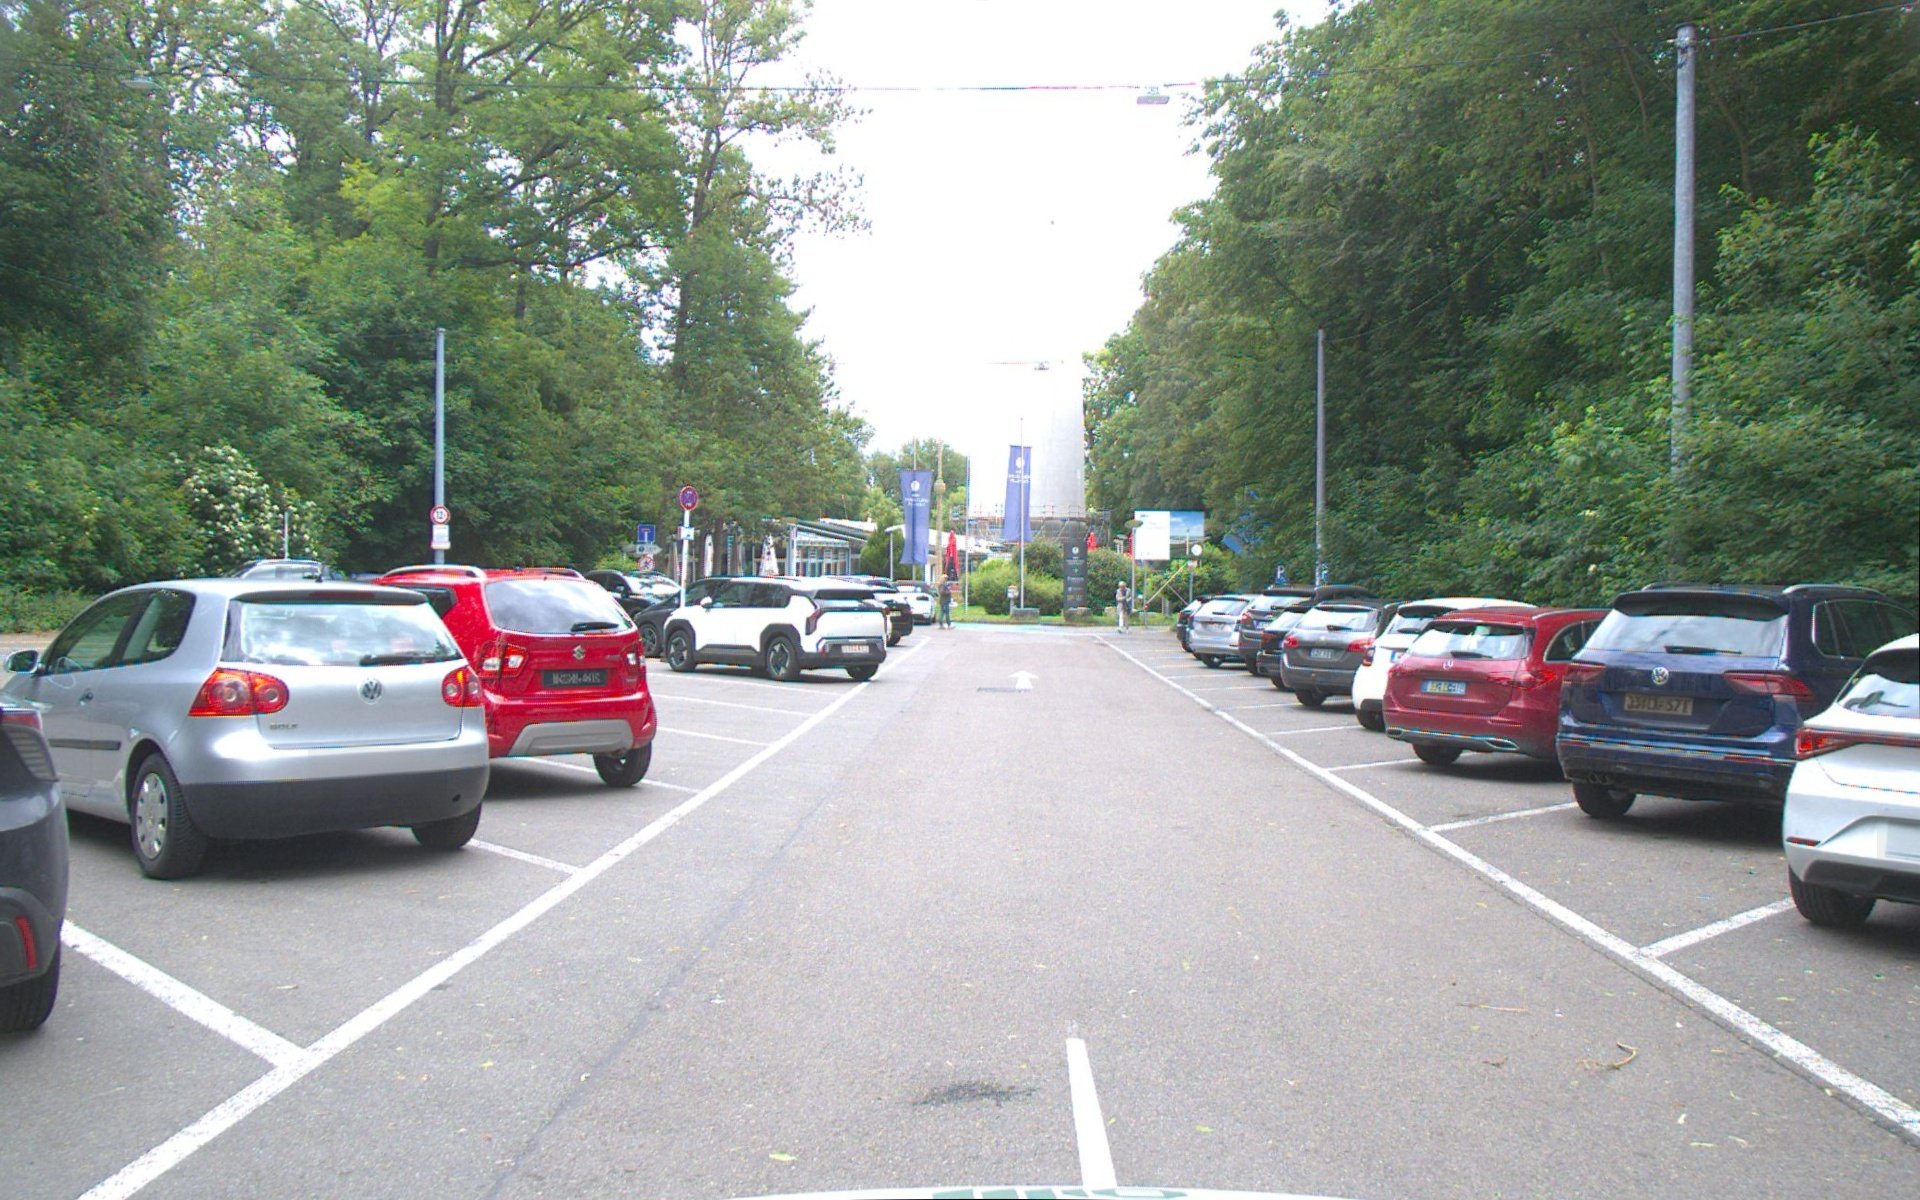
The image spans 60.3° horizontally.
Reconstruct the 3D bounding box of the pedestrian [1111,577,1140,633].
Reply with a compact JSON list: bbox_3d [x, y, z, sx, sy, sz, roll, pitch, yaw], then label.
[{"bbox_3d":[5.329,0.156,53.179,0.745,1.755,0.897,1,1,15],"label":"pedestrian"}]

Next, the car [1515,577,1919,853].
[{"bbox_3d":[5.947,0.697,11.970,4.081,1.646,1.816,1,1,-40],"label":"car"}]

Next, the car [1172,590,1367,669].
[{"bbox_3d":[6.359,0.551,33.818,3.960,1.492,1.810,0,1,-39],"label":"car"}]

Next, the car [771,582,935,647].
[{"bbox_3d":[-2.697,0.331,40.945,1.747,1.468,4.209,0,1,-44],"label":"car"}]

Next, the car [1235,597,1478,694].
[{"bbox_3d":[6.497,0.680,26.836,1.933,1.401,4.232,1,1,45],"label":"car"}]

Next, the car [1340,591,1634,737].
[{"bbox_3d":[6.231,0.681,19.414,3.550,1.531,1.709,0,1,-41],"label":"car"}]

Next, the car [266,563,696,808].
[{"bbox_3d":[-3.802,0.537,12.837,3.593,1.613,1.675,1,1,44],"label":"car"}]

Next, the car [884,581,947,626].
[{"bbox_3d":[-1.523,0.099,57.840,1.853,1.453,4.002,1,1,3],"label":"car"}]

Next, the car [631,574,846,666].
[{"bbox_3d":[-4.187,0.327,31.008,3.927,1.581,1.863,1,1,41],"label":"car"}]

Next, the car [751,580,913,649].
[{"bbox_3d":[-2.965,0.299,37.817,1.758,1.468,3.787,0,1,-42],"label":"car"}]

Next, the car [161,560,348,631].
[{"bbox_3d":[-17.967,-0.110,42.217,4.037,1.714,1.851,0,1,-42],"label":"car"}]

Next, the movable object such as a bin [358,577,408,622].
[{"bbox_3d":[-17.691,-0.025,50.725,1.101,1.343,1.239,1,0,-2],"label":"movable object such as a bin"}]

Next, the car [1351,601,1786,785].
[{"bbox_3d":[5.726,0.767,15.358,4.254,1.438,1.901,1,1,-39],"label":"car"}]

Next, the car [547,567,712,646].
[{"bbox_3d":[-7.640,0.123,38.028,1.885,1.692,3.934,0,1,-45],"label":"car"}]

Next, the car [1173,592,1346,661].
[{"bbox_3d":[6.805,0.574,37.365,3.968,1.447,1.880,0,1,-44],"label":"car"}]

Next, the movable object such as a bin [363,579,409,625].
[{"bbox_3d":[-16.966,0.052,48.875,1.110,1.337,1.174,0,0,-28],"label":"movable object such as a bin"}]

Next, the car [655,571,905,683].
[{"bbox_3d":[-2.959,0.371,26.583,4.120,1.624,1.833,2,1,45],"label":"car"}]

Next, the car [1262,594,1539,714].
[{"bbox_3d":[6.137,0.677,22.807,4.153,1.483,1.777,0,1,-43],"label":"car"}]

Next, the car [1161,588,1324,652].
[{"bbox_3d":[7.073,0.480,41.207,4.170,1.488,1.870,1,1,-43],"label":"car"}]

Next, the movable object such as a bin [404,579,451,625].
[{"bbox_3d":[-15.905,0.051,49.394,1.155,1.330,1.302,0,0,-28],"label":"movable object such as a bin"}]

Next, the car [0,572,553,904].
[{"bbox_3d":[-4.243,0.613,9.647,3.933,1.509,1.864,1,0,45],"label":"car"}]

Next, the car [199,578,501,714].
[{"bbox_3d":[-7.570,0.484,20.323,4.244,1.467,1.856,1,1,44],"label":"car"}]

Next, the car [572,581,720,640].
[{"bbox_3d":[-8.142,0.232,42.660,1.755,1.418,4.323,0,1,-43],"label":"car"}]

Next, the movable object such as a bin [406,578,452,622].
[{"bbox_3d":[-16.578,-0.011,51.665,1.230,1.348,1.144,1,0,-10],"label":"movable object such as a bin"}]

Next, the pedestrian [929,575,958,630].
[{"bbox_3d":[-0.543,0.070,53.629,0.877,1.755,0.763,1,0,-6],"label":"pedestrian"}]

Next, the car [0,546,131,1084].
[{"bbox_3d":[-4.487,0.581,5.934,1.814,1.549,4.041,1,0,-40],"label":"car"}]

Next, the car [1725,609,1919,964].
[{"bbox_3d":[5.636,0.809,8.156,4.081,1.463,1.843,1,1,-40],"label":"car"}]

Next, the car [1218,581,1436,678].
[{"bbox_3d":[6.910,0.514,30.921,4.228,1.665,1.935,0,1,-43],"label":"car"}]
